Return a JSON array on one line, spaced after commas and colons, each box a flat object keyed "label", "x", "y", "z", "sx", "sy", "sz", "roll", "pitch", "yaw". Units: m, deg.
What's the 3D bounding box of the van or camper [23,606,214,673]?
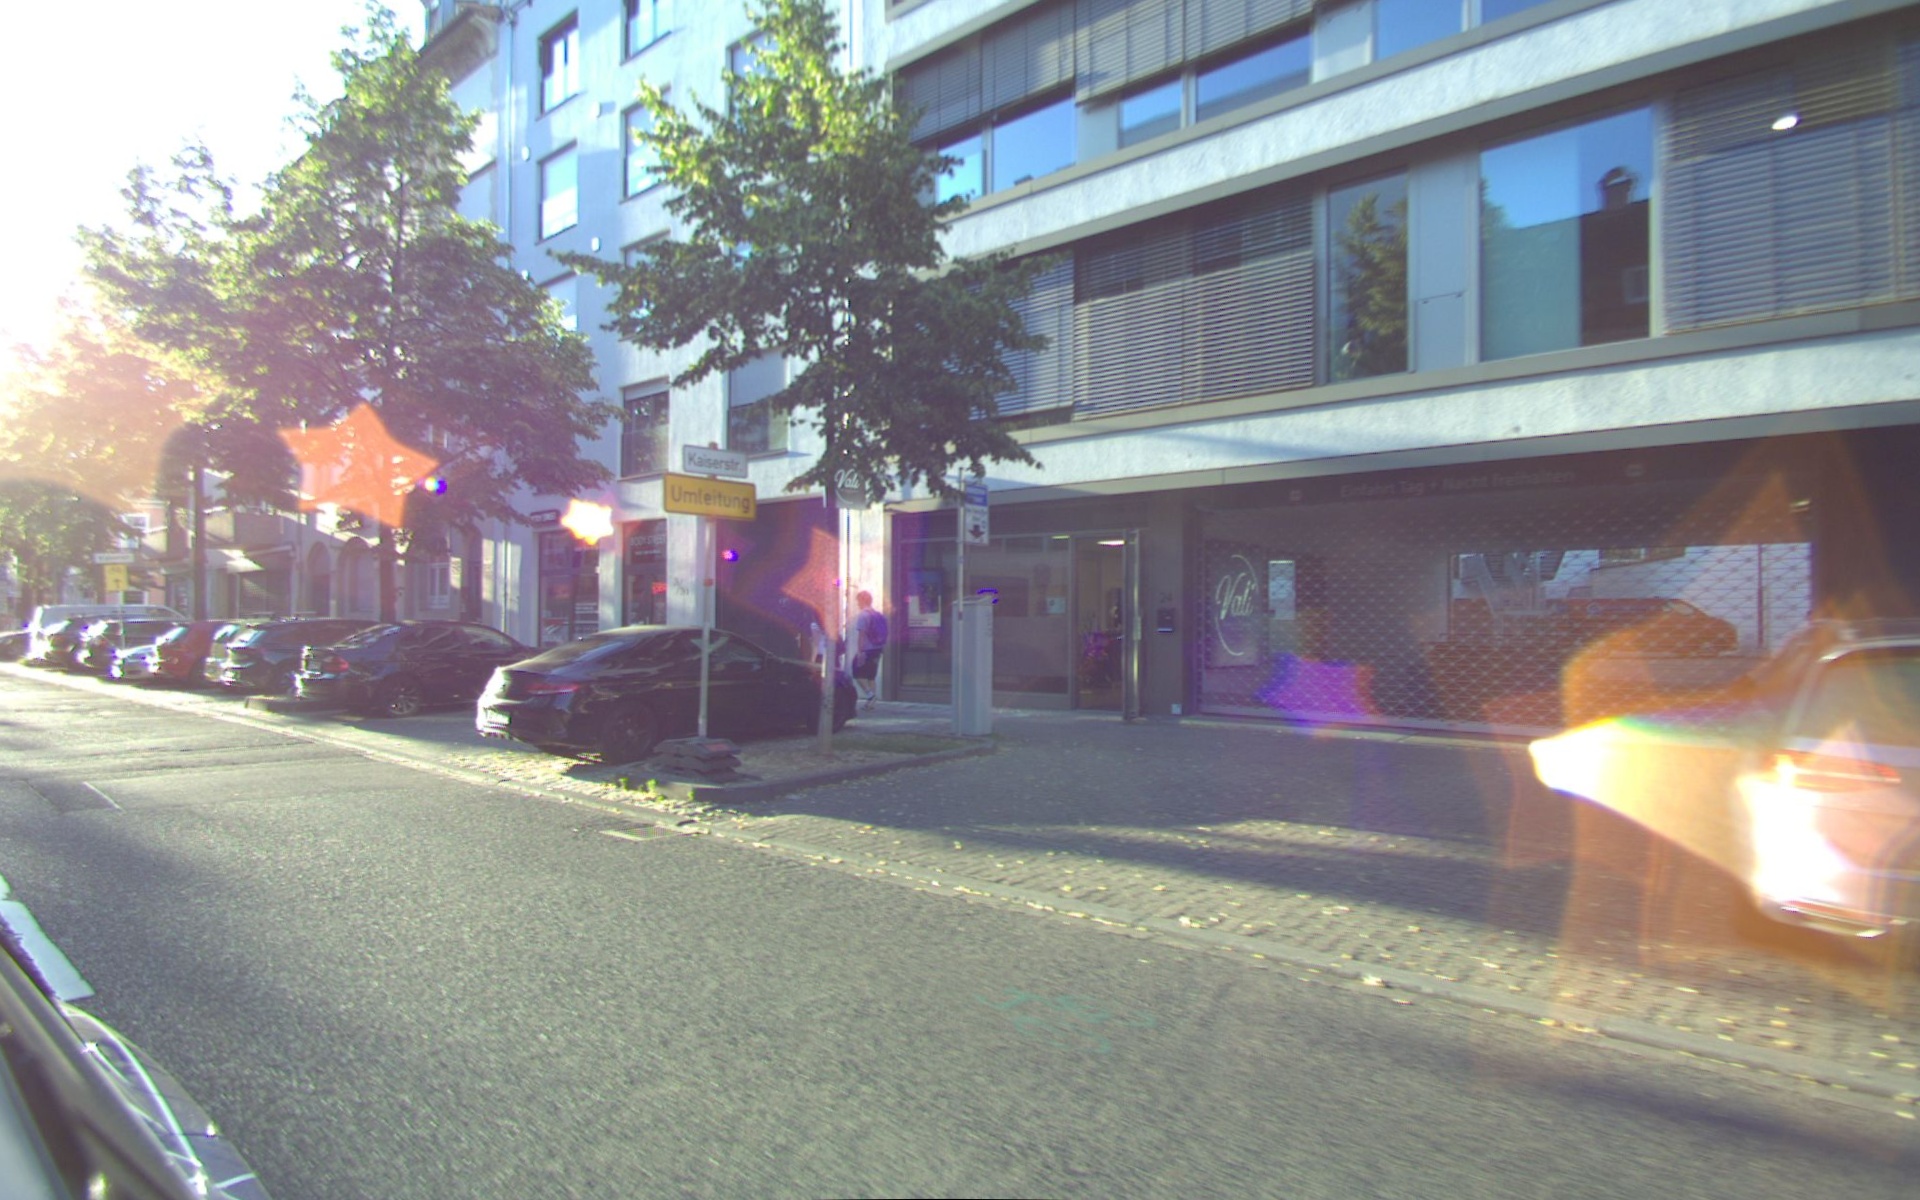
[{"label": "van or camper", "x": -26.534, "y": 1.212, "z": 32.027, "sx": 1.788, "sy": 1.971, "sz": 4.411, "roll": -1, "pitch": -2, "yaw": 41}]

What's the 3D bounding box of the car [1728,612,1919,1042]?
[{"label": "car", "x": 5.033, "y": 0.809, "z": 5.085, "sx": 1.741, "sy": 1.495, "sz": 4.507, "roll": -1, "pitch": -1, "yaw": 36}]

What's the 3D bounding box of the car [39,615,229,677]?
[{"label": "car", "x": -24.367, "y": 1.313, "z": 29.955, "sx": 1.732, "sy": 1.681, "sz": 4.138, "roll": 0, "pitch": -1, "yaw": 42}]

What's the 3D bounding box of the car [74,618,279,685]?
[{"label": "car", "x": -20.646, "y": 1.295, "z": 26.782, "sx": 4.135, "sy": 1.548, "sz": 1.745, "roll": 0, "pitch": 0, "yaw": -45}]

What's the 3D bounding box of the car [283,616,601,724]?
[{"label": "car", "x": -8.134, "y": 1.007, "z": 16.249, "sx": 1.742, "sy": 1.495, "sz": 4.234, "roll": -1, "pitch": -1, "yaw": 38}]

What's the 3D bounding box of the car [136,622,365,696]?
[{"label": "car", "x": -15.613, "y": 1.234, "z": 22.427, "sx": 1.742, "sy": 1.468, "sz": 3.829, "roll": -1, "pitch": -1, "yaw": 38}]

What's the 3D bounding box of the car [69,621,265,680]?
[{"label": "car", "x": -22.460, "y": 1.379, "z": 28.785, "sx": 1.731, "sy": 1.453, "sz": 4.141, "roll": 0, "pitch": 0, "yaw": 40}]

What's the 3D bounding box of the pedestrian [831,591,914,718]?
[{"label": "pedestrian", "x": -1.279, "y": 0.768, "z": 14.741, "sx": 0.933, "sy": 1.762, "sz": 0.712, "roll": -1, "pitch": 0, "yaw": 41}]

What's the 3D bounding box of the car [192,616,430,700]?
[{"label": "car", "x": -13.388, "y": 1.125, "z": 21.069, "sx": 1.742, "sy": 1.579, "sz": 3.829, "roll": -1, "pitch": -1, "yaw": 38}]

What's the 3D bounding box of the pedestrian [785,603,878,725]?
[{"label": "pedestrian", "x": -1.804, "y": 0.869, "z": 14.218, "sx": 1.094, "sy": 1.614, "sz": 0.712, "roll": -1, "pitch": 0, "yaw": 41}]

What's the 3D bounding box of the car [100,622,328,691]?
[{"label": "car", "x": -17.436, "y": 1.272, "z": 23.818, "sx": 1.741, "sy": 1.397, "sz": 4.004, "roll": -2, "pitch": -1, "yaw": 36}]

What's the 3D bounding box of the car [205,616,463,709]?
[{"label": "car", "x": -11.783, "y": 1.103, "z": 19.261, "sx": 1.742, "sy": 1.579, "sz": 3.829, "roll": -1, "pitch": -1, "yaw": 38}]

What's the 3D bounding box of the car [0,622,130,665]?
[{"label": "car", "x": -34.616, "y": 1.627, "z": 38.554, "sx": 1.812, "sy": 1.536, "sz": 4.384, "roll": -1, "pitch": -1, "yaw": 39}]

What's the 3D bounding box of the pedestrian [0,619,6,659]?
[{"label": "pedestrian", "x": -40.520, "y": 1.647, "z": 42.527, "sx": 0.721, "sy": 1.660, "sz": 0.543, "roll": -1, "pitch": -2, "yaw": 43}]

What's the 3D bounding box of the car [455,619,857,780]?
[{"label": "car", "x": -3.320, "y": 0.983, "z": 11.744, "sx": 1.743, "sy": 1.495, "sz": 4.231, "roll": -1, "pitch": -1, "yaw": 40}]
